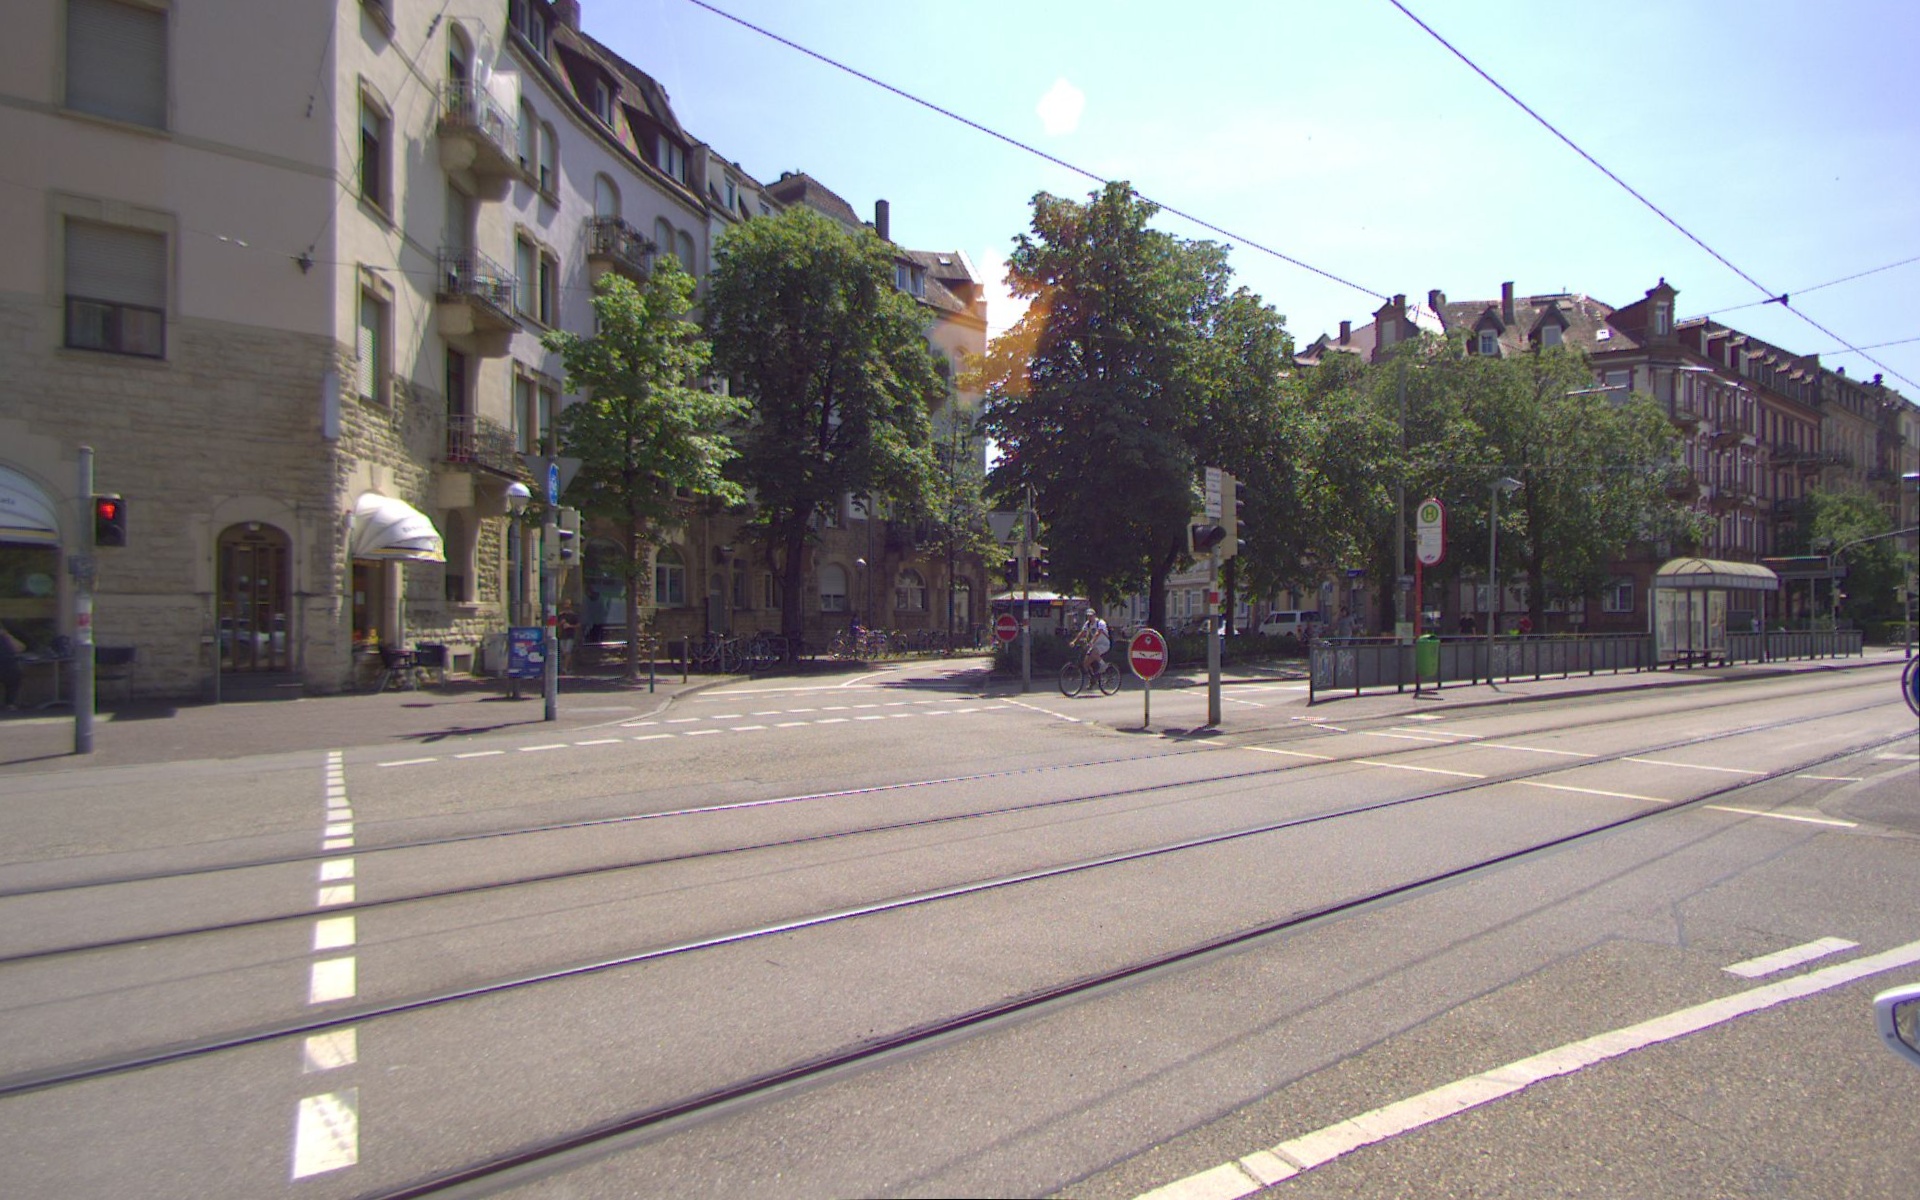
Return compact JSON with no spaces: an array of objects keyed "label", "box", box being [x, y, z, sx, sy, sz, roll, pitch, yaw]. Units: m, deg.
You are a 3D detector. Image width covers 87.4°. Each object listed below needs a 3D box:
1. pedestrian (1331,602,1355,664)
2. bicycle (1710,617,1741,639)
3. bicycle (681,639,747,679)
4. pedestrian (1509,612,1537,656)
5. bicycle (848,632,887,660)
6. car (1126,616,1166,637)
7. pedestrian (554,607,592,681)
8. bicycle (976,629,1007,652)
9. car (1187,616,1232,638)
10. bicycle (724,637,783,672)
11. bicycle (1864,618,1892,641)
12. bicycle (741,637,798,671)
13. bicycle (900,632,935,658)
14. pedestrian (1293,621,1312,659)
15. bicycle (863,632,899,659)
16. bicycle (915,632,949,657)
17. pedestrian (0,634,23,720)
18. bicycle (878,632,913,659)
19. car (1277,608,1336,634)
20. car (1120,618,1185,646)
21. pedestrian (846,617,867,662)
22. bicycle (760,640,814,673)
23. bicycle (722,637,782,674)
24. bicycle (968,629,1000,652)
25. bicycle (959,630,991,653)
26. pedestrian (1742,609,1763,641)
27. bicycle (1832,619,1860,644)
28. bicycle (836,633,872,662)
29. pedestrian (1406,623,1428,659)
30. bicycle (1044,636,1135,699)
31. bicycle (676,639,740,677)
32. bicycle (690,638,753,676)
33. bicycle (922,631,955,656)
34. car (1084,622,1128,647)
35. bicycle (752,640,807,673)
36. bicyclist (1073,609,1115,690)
[{"label":"pedestrian","box":[11.883,1.021,31.164,0.488,1.904,0.507,1,-1,-33]},{"label":"bicycle","box":[42.009,1.552,55.124,1.490,1.185,0.365,0,1,-3]},{"label":"bicycle","box":[-6.339,1.514,25.936,1.639,0.987,0.290,1,-1,5]},{"label":"pedestrian","box":[20.829,1.253,37.165,0.767,1.627,0.674,1,-1,-41]},{"label":"bicycle","box":[-3.406,1.668,36.880,1.648,0.987,0.388,0,-1,41]},{"label":"car","box":[14.949,2.100,80.963,1.729,1.639,3.991,0,-1,-13]},{"label":"pedestrian","box":[-9.374,1.047,24.344,0.722,1.754,0.539,1,-1,-40]},{"label":"bicycle","box":[1.389,1.760,44.263,1.469,0.969,0.407,0,-1,43]},{"label":"car","box":[17.402,1.852,70.263,1.515,1.461,3.732,1,-1,-13]},{"label":"bicycle","box":[-5.910,1.556,28.728,1.639,0.987,0.290,1,-1,5]},{"label":"bicycle","box":[55.977,1.768,61.246,0.582,1.374,2.438,0,-1,26]},{"label":"bicycle","box":[-5.732,1.626,30.203,1.639,0.987,0.290,1,-1,5]},{"label":"bicycle","box":[-1.658,1.721,38.839,1.469,0.969,0.407,0,-1,43]},{"label":"pedestrian","box":[11.649,1.349,34.198,0.539,1.272,0.646,1,-1,13]},{"label":"bicycle","box":[-2.950,1.694,37.433,1.469,0.969,0.407,0,-1,43]},{"label":"bicycle","box":[-1.098,1.738,39.467,1.469,0.969,0.407,0,-1,43]},{"label":"pedestrian","box":[-13.136,1.049,13.758,0.402,1.164,0.402,1,-1,-41]},{"label":"bicycle","box":[-2.434,1.705,38.008,1.469,0.969,0.407,0,-1,43]},{"label":"car","box":[20.052,1.199,58.251,1.515,1.461,3.732,1,-1,-13]},{"label":"car","box":[10.638,1.736,55.597,1.523,1.461,3.713,1,-1,-29]},{"label":"pedestrian","box":[-4.202,1.590,40.598,0.618,1.800,0.606,1,-1,-33]},{"label":"bicycle","box":[-5.443,1.775,31.569,1.639,0.987,0.290,1,-1,5]},{"label":"bicycle","box":[-5.888,1.564,28.400,1.639,0.987,0.290,1,-1,5]},{"label":"bicycle","box":[1.040,1.777,43.851,1.469,0.969,0.407,0,-1,43]},{"label":"bicycle","box":[0.636,1.782,43.352,1.469,0.969,0.407,0,-1,43]},{"label":"pedestrian","box":[41.565,1.286,52.683,0.640,1.637,0.470,1,2,10]},{"label":"bicycle","box":[50.812,1.793,57.620,0.605,1.414,2.305,0,-1,26]},{"label":"bicycle","box":[-3.815,1.694,36.108,1.469,0.969,0.407,0,-1,43]},{"label":"pedestrian","box":[17.174,1.534,37.762,0.606,1.304,0.646,1,-1,13]},{"label":"bicycle","box":[2.599,1.320,20.029,1.960,1.173,0.623,0,0,-38]},{"label":"bicycle","box":[-6.710,1.542,26.776,1.639,0.987,0.290,1,-1,5]},{"label":"bicycle","box":[-6.438,1.541,27.130,1.639,0.987,0.290,1,-1,5]},{"label":"bicycle","box":[-0.873,1.765,40.915,1.469,0.969,0.407,0,-1,43]},{"label":"car","box":[9.122,2.140,63.071,1.515,1.461,3.732,1,-1,-13]},{"label":"bicycle","box":[-5.567,1.735,31.066,1.639,0.987,0.290,1,-1,5]},{"label":"bicyclist","box":[2.682,0.978,20.086,0.580,1.595,0.603,1,-1,-37]}]
